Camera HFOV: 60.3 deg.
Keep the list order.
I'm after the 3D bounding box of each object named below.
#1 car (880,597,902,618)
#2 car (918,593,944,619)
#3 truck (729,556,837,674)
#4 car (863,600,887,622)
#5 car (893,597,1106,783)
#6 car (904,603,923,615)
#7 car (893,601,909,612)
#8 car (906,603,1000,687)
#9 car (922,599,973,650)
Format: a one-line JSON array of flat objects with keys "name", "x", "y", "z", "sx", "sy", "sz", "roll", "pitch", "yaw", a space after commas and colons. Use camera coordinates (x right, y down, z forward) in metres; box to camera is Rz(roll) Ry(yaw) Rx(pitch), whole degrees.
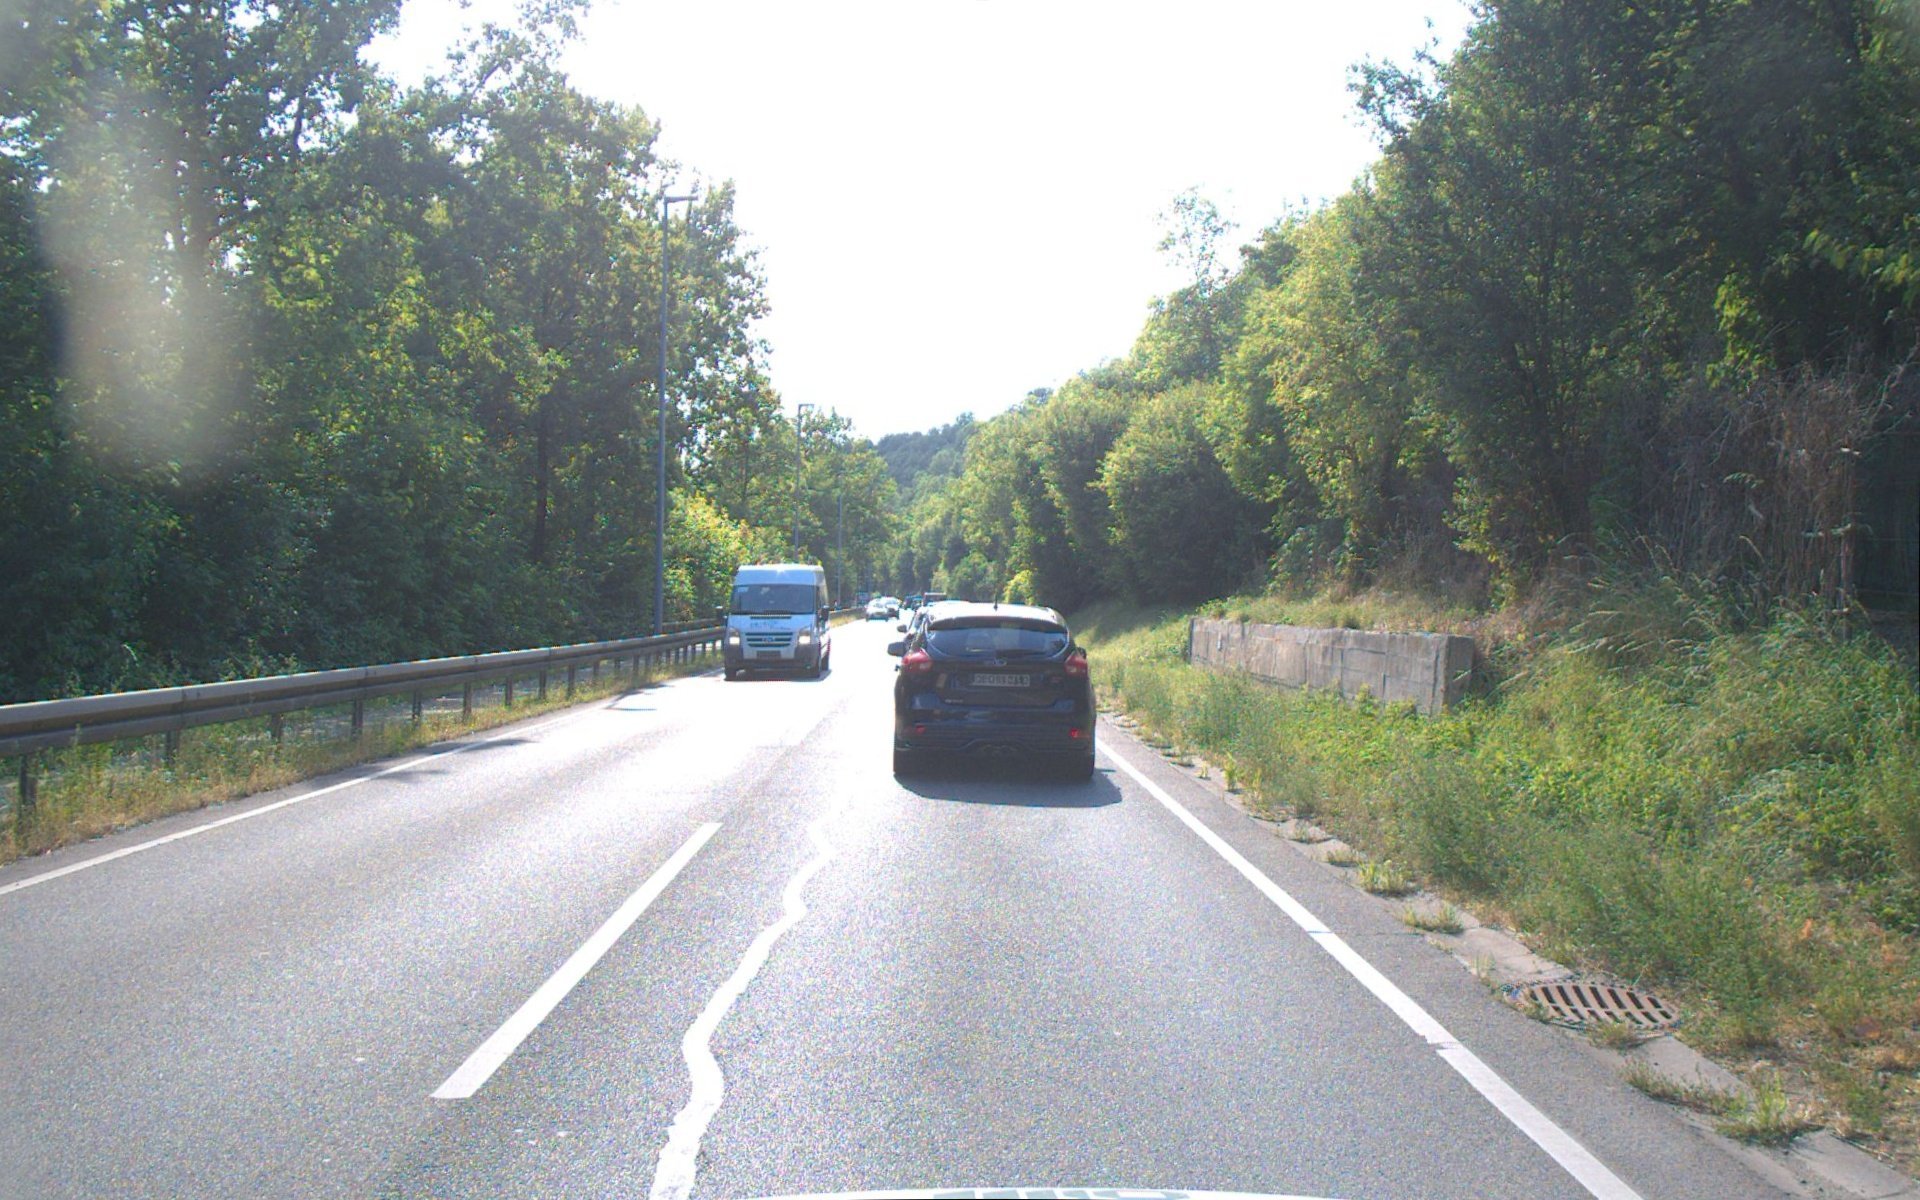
[{"name": "car", "x": -5.580, "y": 0.606, "z": 134.283, "sx": 1.712, "sy": 1.747, "sz": 4.220, "roll": 0, "pitch": 0, "yaw": -1}, {"name": "car", "x": -2.042, "y": 0.415, "z": 117.571, "sx": 1.825, "sy": 1.812, "sz": 4.000, "roll": 0, "pitch": 0, "yaw": 0}, {"name": "truck", "x": -3.862, "y": 0.301, "z": 37.044, "sx": 2.016, "sy": 2.427, "sz": 5.870, "roll": 0, "pitch": 0, "yaw": -2}, {"name": "car", "x": -6.105, "y": 0.777, "z": 119.219, "sx": 1.648, "sy": 1.467, "sz": 3.999, "roll": 0, "pitch": 0, "yaw": -2}, {"name": "car", "x": 0.290, "y": 0.741, "z": 15.414, "sx": 1.704, "sy": 1.482, "sz": 3.999, "roll": 1, "pitch": 0, "yaw": -1}, {"name": "car", "x": -5.822, "y": 1.110, "z": 207.011, "sx": 1.956, "sy": 1.545, "sz": 3.992, "roll": 0, "pitch": 0, "yaw": -8}, {"name": "car", "x": -8.618, "y": 0.970, "z": 241.688, "sx": 1.956, "sy": 1.545, "sz": 3.992, "roll": 0, "pitch": 0, "yaw": -8}, {"name": "car", "x": -0.107, "y": 0.788, "z": 30.732, "sx": 1.627, "sy": 1.443, "sz": 4.000, "roll": 0, "pitch": 0, "yaw": 0}, {"name": "car", "x": -0.432, "y": 0.788, "z": 54.720, "sx": 1.597, "sy": 1.624, "sz": 3.999, "roll": 0, "pitch": 0, "yaw": -1}]
